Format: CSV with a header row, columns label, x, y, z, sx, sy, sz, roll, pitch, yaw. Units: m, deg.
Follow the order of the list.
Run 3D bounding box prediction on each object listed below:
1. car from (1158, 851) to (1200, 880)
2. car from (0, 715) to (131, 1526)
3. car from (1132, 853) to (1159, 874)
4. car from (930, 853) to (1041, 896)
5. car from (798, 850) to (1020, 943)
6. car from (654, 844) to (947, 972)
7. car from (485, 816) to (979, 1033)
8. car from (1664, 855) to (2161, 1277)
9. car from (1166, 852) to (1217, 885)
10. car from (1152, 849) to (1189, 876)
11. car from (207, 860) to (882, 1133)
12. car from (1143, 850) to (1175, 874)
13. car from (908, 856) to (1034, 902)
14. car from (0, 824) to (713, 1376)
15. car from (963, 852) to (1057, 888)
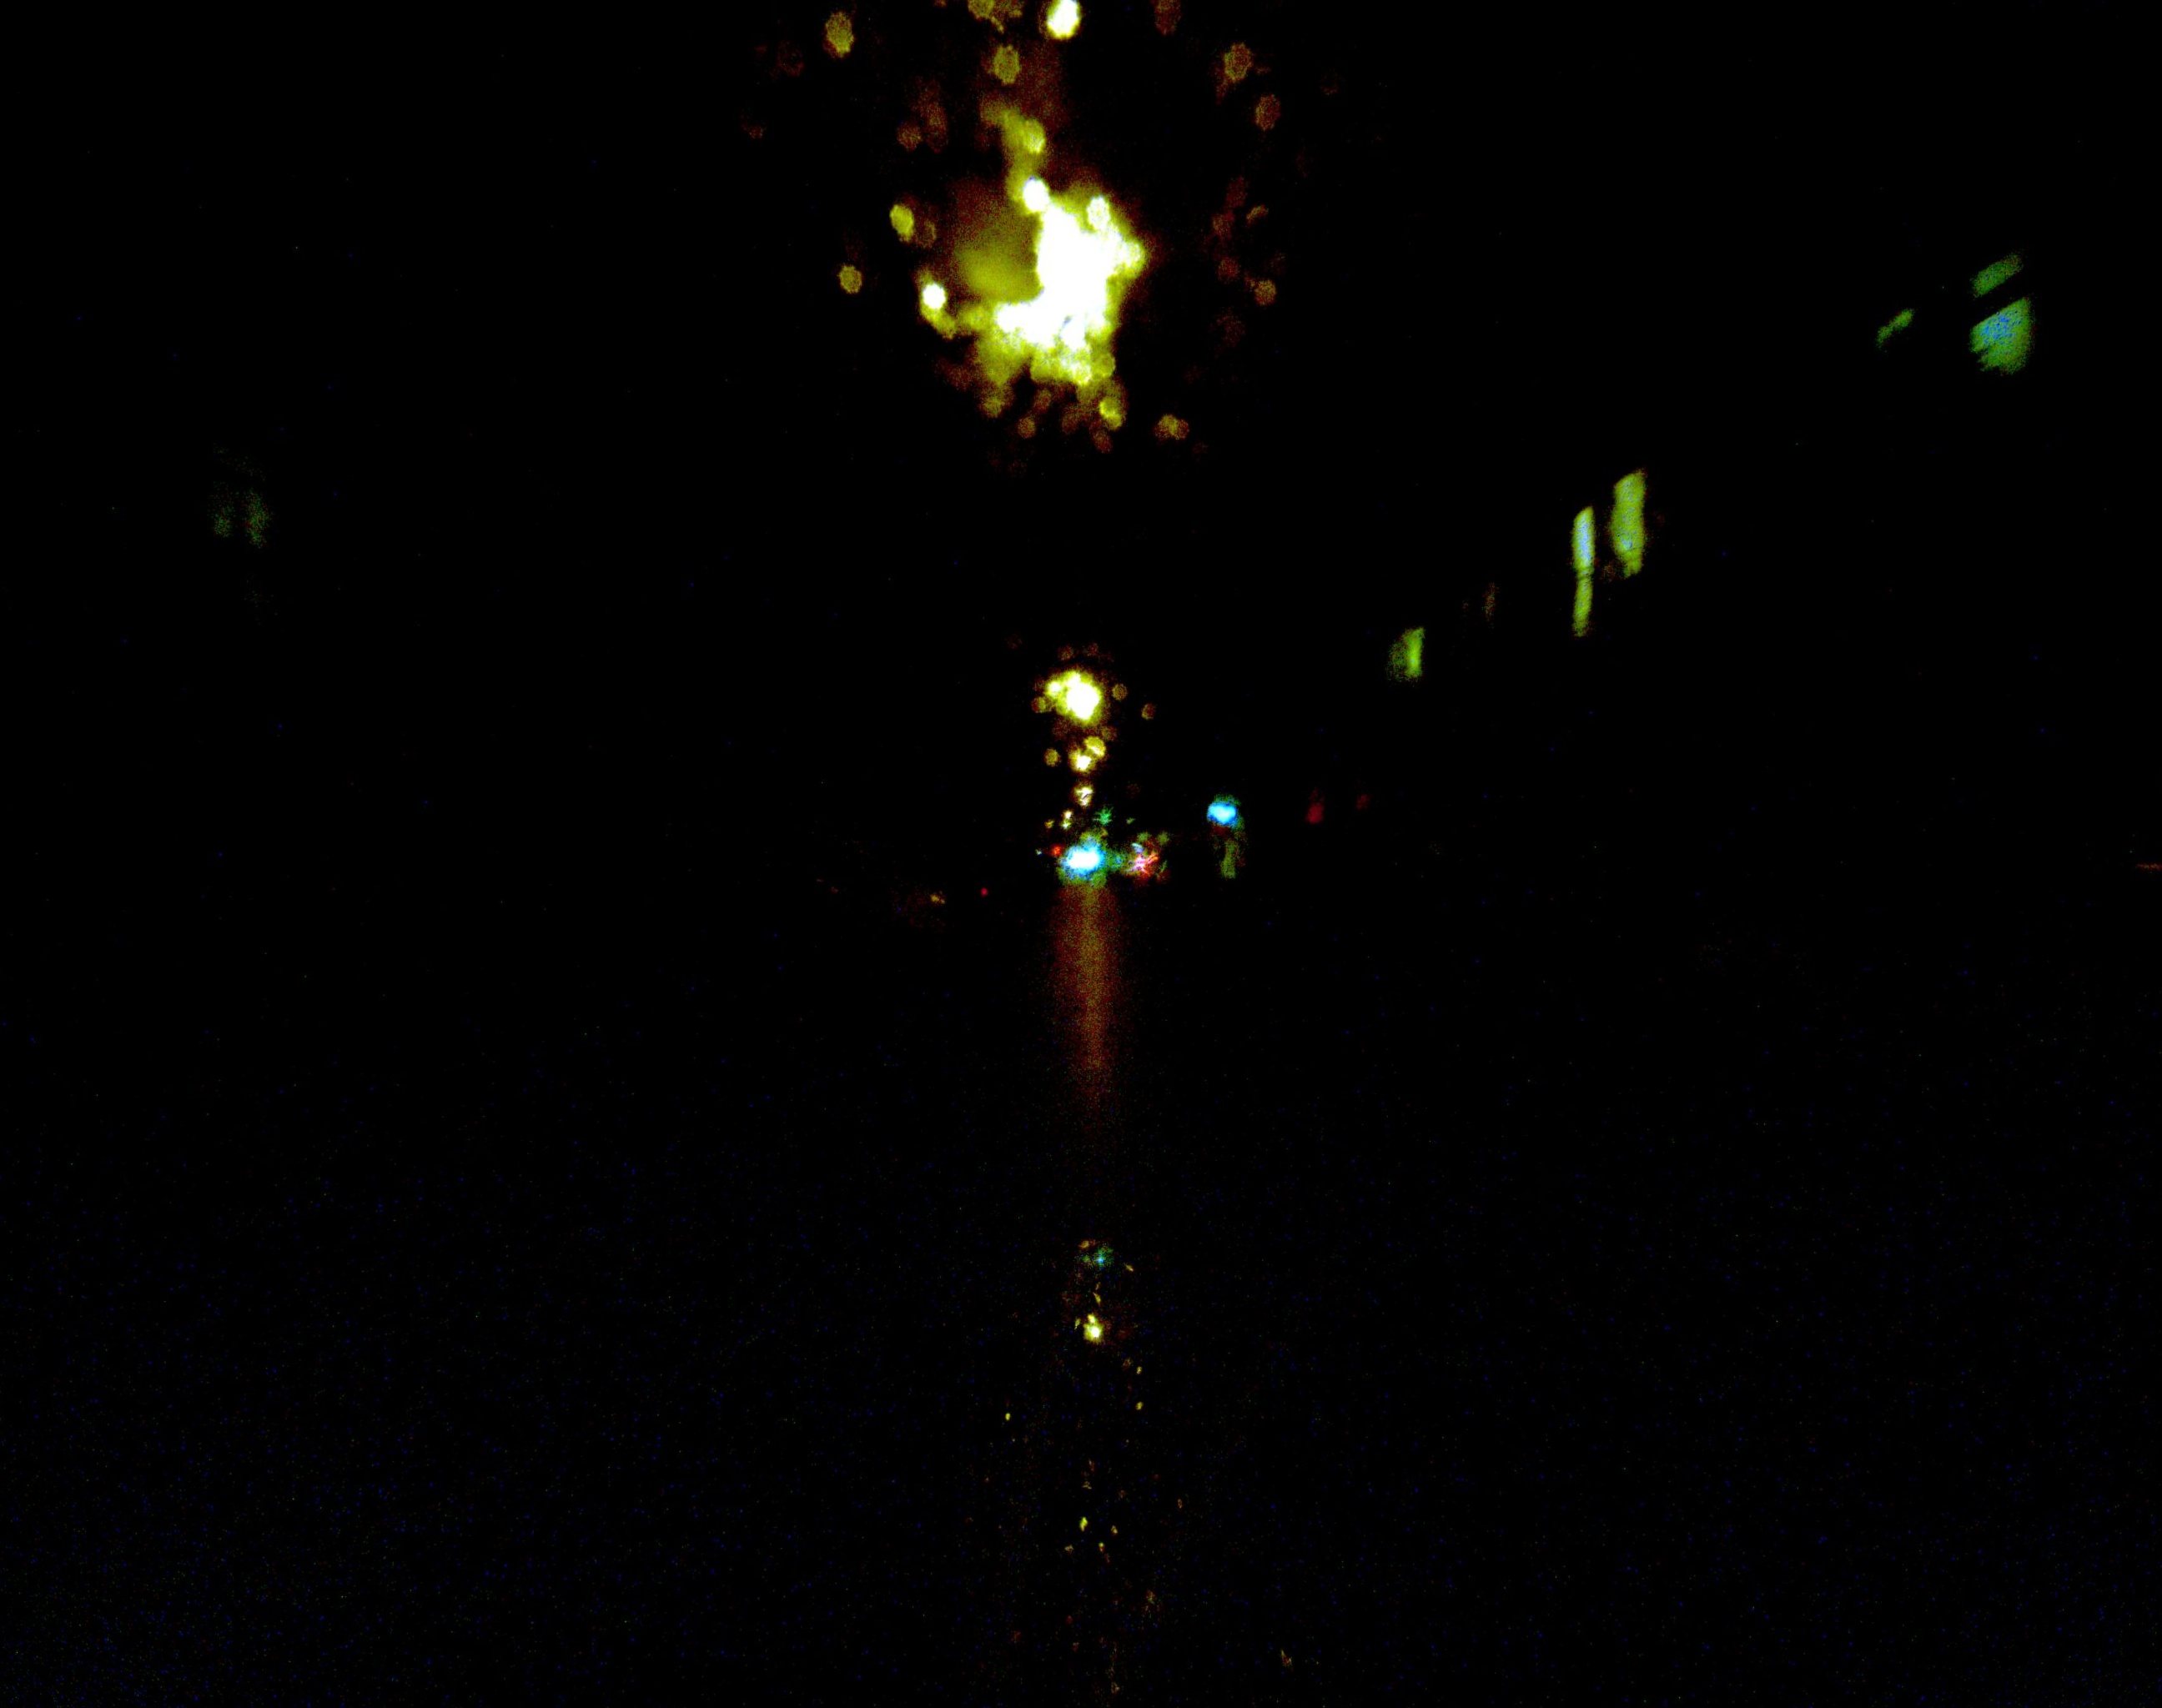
label,x,y,z,sx,sy,sz,roll,pitch,yaw
car,5.371,0.612,42.039,1.851,1.470,3.735,-2,0,0
car,-4.043,0.605,0.497,3.942,1.931,1.738,1,0,-36
car,5.157,0.776,61.276,1.851,1.571,3.735,-2,0,0
car,-3.706,0.788,29.570,3.939,1.553,1.707,1,0,-23
car,-3.321,0.778,14.619,3.939,1.610,1.707,1,0,-22
car,-4.229,0.766,11.777,3.939,1.732,1.707,1,0,-22
car,-3.787,0.684,8.887,4.720,1.968,1.975,1,0,-29
car,4.794,0.775,3.293,1.720,1.470,3.786,-2,0,3
car,5.226,0.652,36.387,1.851,1.470,3.735,-2,0,0
car,5.594,0.487,48.009,1.851,1.571,3.735,-2,0,0
car,-3.850,0.869,6.184,3.941,1.541,1.739,1,0,-33
car,5.434,0.556,53.262,1.851,1.571,3.735,-2,0,0
car,-3.774,0.856,26.028,3.939,1.455,1.707,1,0,-23
car,-3.900,0.786,3.211,3.942,1.782,1.738,1,0,-36
car,-3.275,0.757,35.104,3.939,1.553,1.707,1,0,-23
